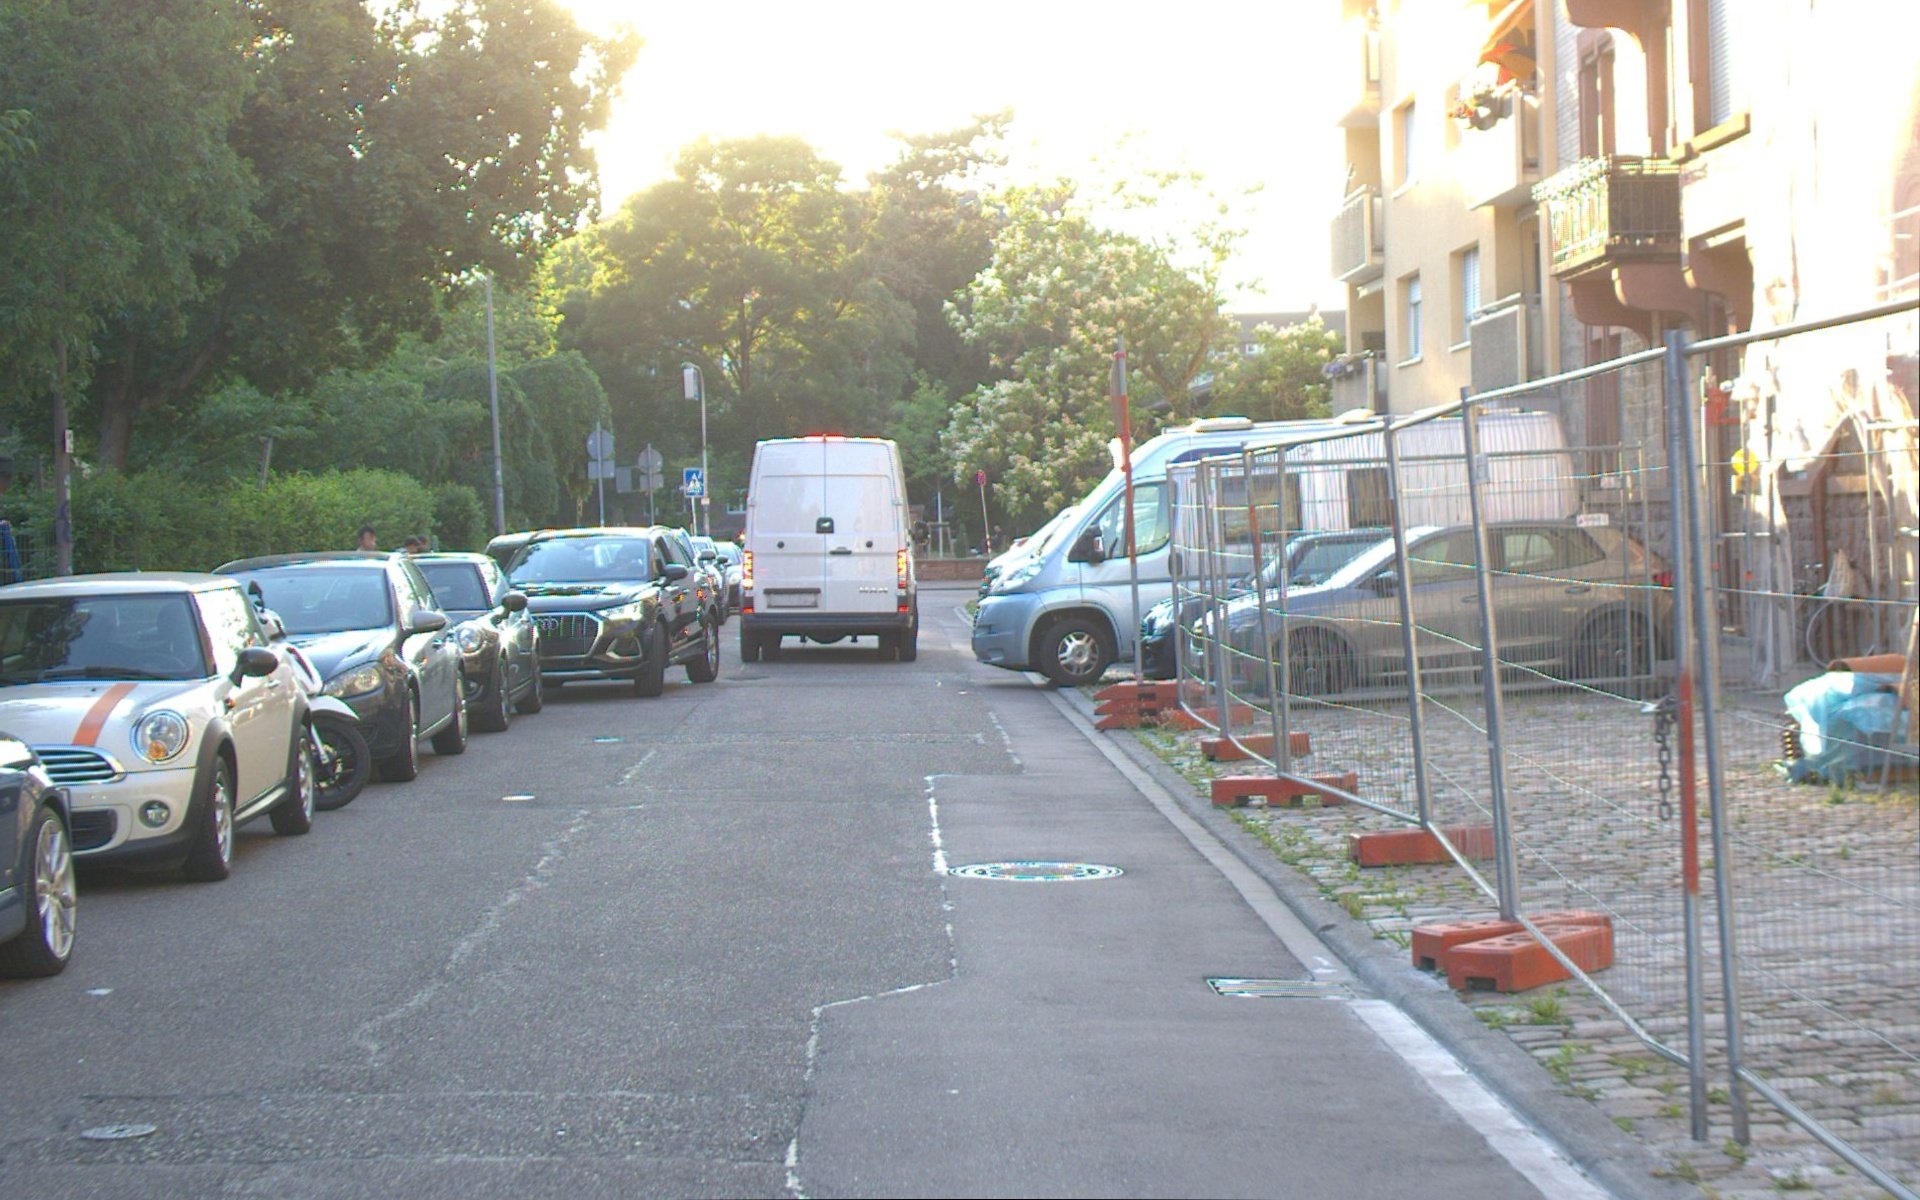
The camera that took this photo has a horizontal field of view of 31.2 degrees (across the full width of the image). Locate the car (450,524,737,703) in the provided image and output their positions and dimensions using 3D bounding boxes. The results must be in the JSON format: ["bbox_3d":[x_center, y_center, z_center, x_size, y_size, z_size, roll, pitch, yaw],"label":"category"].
[{"bbox_3d":[-3.456,0.075,33.261,1.805,1.564,4.564,-2,1,6],"label":"car"}]

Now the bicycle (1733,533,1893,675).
[{"bbox_3d":[7.269,0.012,29.369,0.630,1.164,2.035,-1,1,-7],"label":"bicycle"}]

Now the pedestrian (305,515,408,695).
[{"bbox_3d":[-6.210,0.043,35.409,0.937,1.824,0.787,0,1,-2],"label":"pedestrian"}]

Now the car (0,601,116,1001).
[{"bbox_3d":[-4.080,0.738,11.148,1.659,1.309,4.155,-2,1,-1],"label":"car"}]

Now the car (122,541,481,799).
[{"bbox_3d":[-4.348,0.393,23.311,1.715,1.491,4.361,-3,1,-2],"label":"car"}]

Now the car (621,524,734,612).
[{"bbox_3d":[-5.311,-0.628,65.044,1.993,1.612,4.001,0,1,-3],"label":"car"}]

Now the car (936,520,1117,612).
[{"bbox_3d":[1.468,-0.774,76.879,3.987,2.007,2.000,0,1,1],"label":"car"}]

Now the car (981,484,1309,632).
[{"bbox_3d":[2.714,-0.638,51.265,4.705,2.138,2.000,0,1,-2],"label":"car"}]

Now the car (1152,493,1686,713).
[{"bbox_3d":[3.768,0.002,28.690,3.986,1.510,2.020,-4,1,-5],"label":"car"}]

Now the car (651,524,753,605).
[{"bbox_3d":[-5.280,-0.745,70.764,1.993,1.612,4.001,0,1,-3],"label":"car"}]

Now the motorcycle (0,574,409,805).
[{"bbox_3d":[-4.412,0.503,20.117,2.165,1.299,0.879,0,1,13],"label":"motorcycle"}]

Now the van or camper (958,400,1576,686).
[{"bbox_3d":[2.980,-0.574,34.316,5.928,2.760,2.110,0,1,-2],"label":"van or camper"}]

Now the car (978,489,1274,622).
[{"bbox_3d":[2.704,-0.752,56.755,4.705,2.138,2.000,0,1,-2],"label":"car"}]

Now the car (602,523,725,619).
[{"bbox_3d":[-5.148,-0.524,60.044,1.993,1.612,4.001,0,1,-3],"label":"car"}]

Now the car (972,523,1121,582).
[{"bbox_3d":[2.424,-1.339,96.801,3.986,1.612,2.000,0,1,-5],"label":"car"}]

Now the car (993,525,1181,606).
[{"bbox_3d":[2.732,-0.761,74.531,3.987,1.722,2.000,0,1,0],"label":"car"}]

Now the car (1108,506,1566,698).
[{"bbox_3d":[3.398,0.025,31.534,3.935,1.481,1.787,-3,0,0],"label":"car"}]

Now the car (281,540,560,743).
[{"bbox_3d":[-4.387,0.285,28.474,1.637,1.473,3.993,-3,1,0],"label":"car"}]

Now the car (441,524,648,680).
[{"bbox_3d":[-4.768,-0.020,39.982,1.783,1.625,4.000,-3,1,1],"label":"car"}]

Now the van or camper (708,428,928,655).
[{"bbox_3d":[-1.659,-0.720,41.891,2.453,2.538,6.084,1,1,-1],"label":"van or camper"}]

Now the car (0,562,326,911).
[{"bbox_3d":[-4.208,0.595,16.752,1.601,1.426,3.804,-4,1,-3],"label":"car"}]

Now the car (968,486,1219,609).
[{"bbox_3d":[2.427,-0.968,63.459,4.495,2.223,2.032,0,1,-2],"label":"car"}]

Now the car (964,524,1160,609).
[{"bbox_3d":[2.087,-0.707,71.483,3.987,1.722,2.000,0,1,0],"label":"car"}]
